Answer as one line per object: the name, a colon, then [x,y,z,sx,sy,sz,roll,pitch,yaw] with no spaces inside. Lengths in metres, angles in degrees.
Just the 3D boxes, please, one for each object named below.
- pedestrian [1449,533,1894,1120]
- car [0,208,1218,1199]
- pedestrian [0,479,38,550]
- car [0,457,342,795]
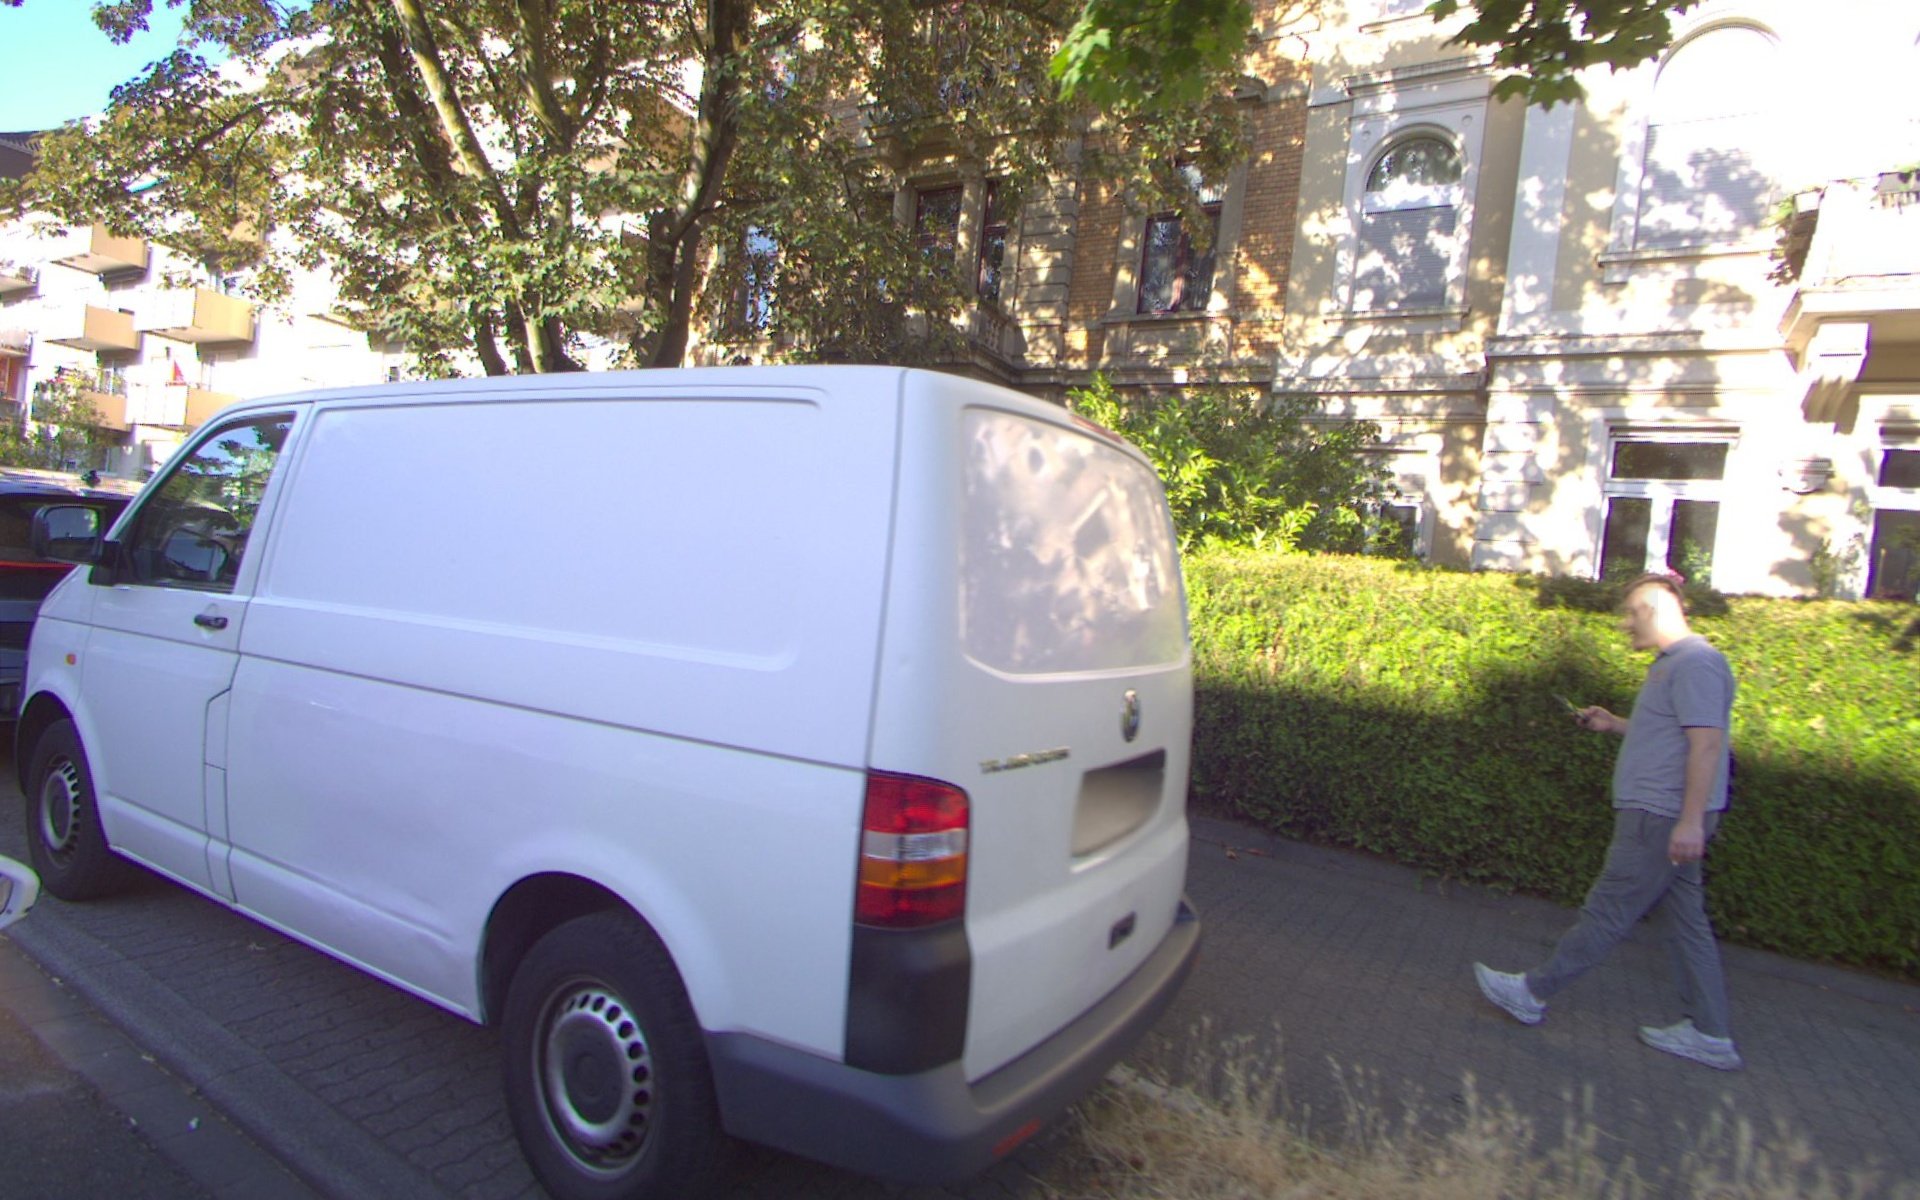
pedestrian: [2.548,0.726,3.786,1.070,1.796,0.822,7,1,28]
car: [-1.687,0.247,3.670,4.562,2.130,1.905,7,0,30]
pedestrian: [-23.057,-2.082,24.574,0.526,1.661,0.475,6,1,13]
car: [-6.067,-0.057,6.427,4.240,1.625,1.856,7,3,32]
